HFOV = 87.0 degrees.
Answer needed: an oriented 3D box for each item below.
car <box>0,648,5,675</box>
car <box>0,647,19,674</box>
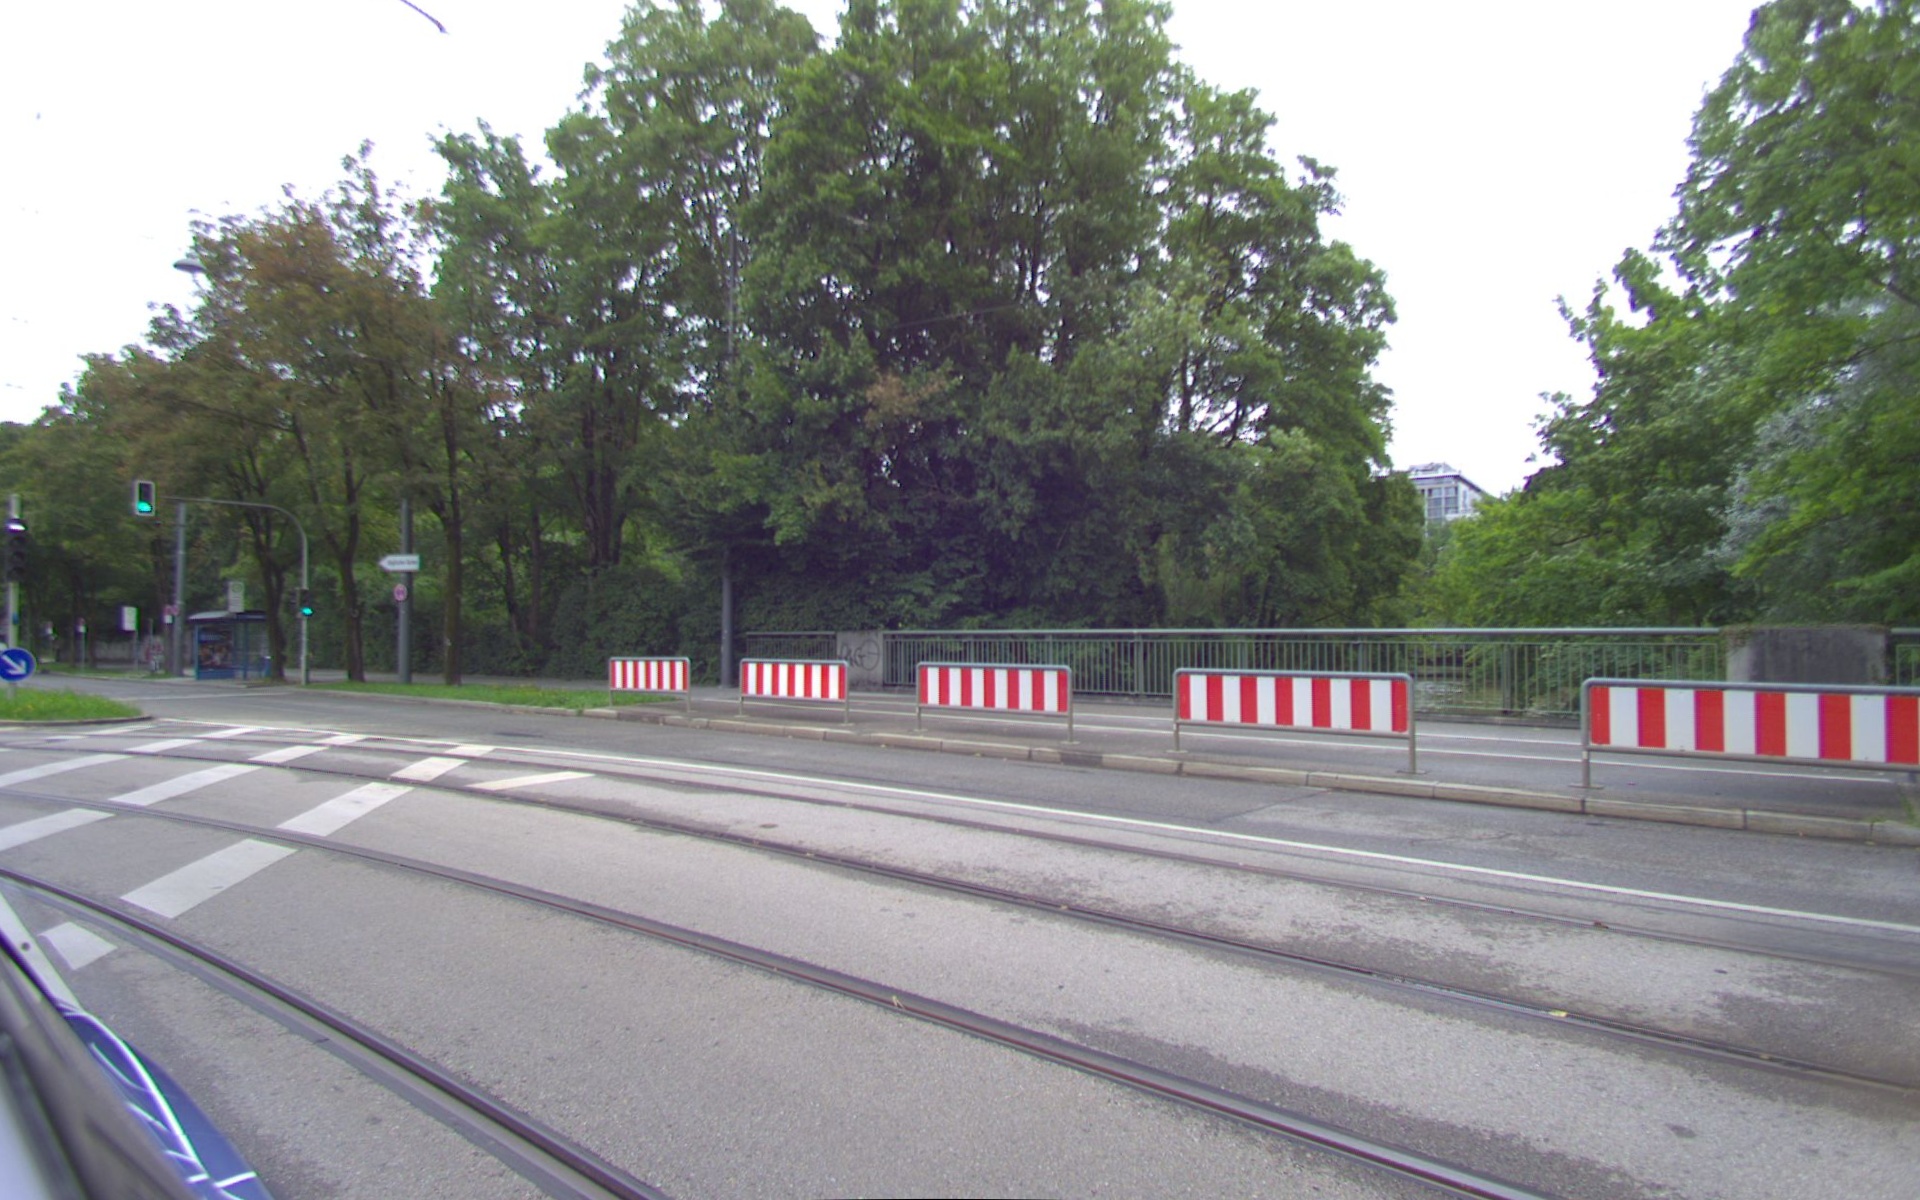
[{"bbox_3d":[-64.225,4.034,66.361,3.996,1.739,1.864,-1,0,40],"label":"car"},{"bbox_3d":[-59.859,3.739,62.638,3.996,1.552,1.864,-1,0,40],"label":"car"}]
